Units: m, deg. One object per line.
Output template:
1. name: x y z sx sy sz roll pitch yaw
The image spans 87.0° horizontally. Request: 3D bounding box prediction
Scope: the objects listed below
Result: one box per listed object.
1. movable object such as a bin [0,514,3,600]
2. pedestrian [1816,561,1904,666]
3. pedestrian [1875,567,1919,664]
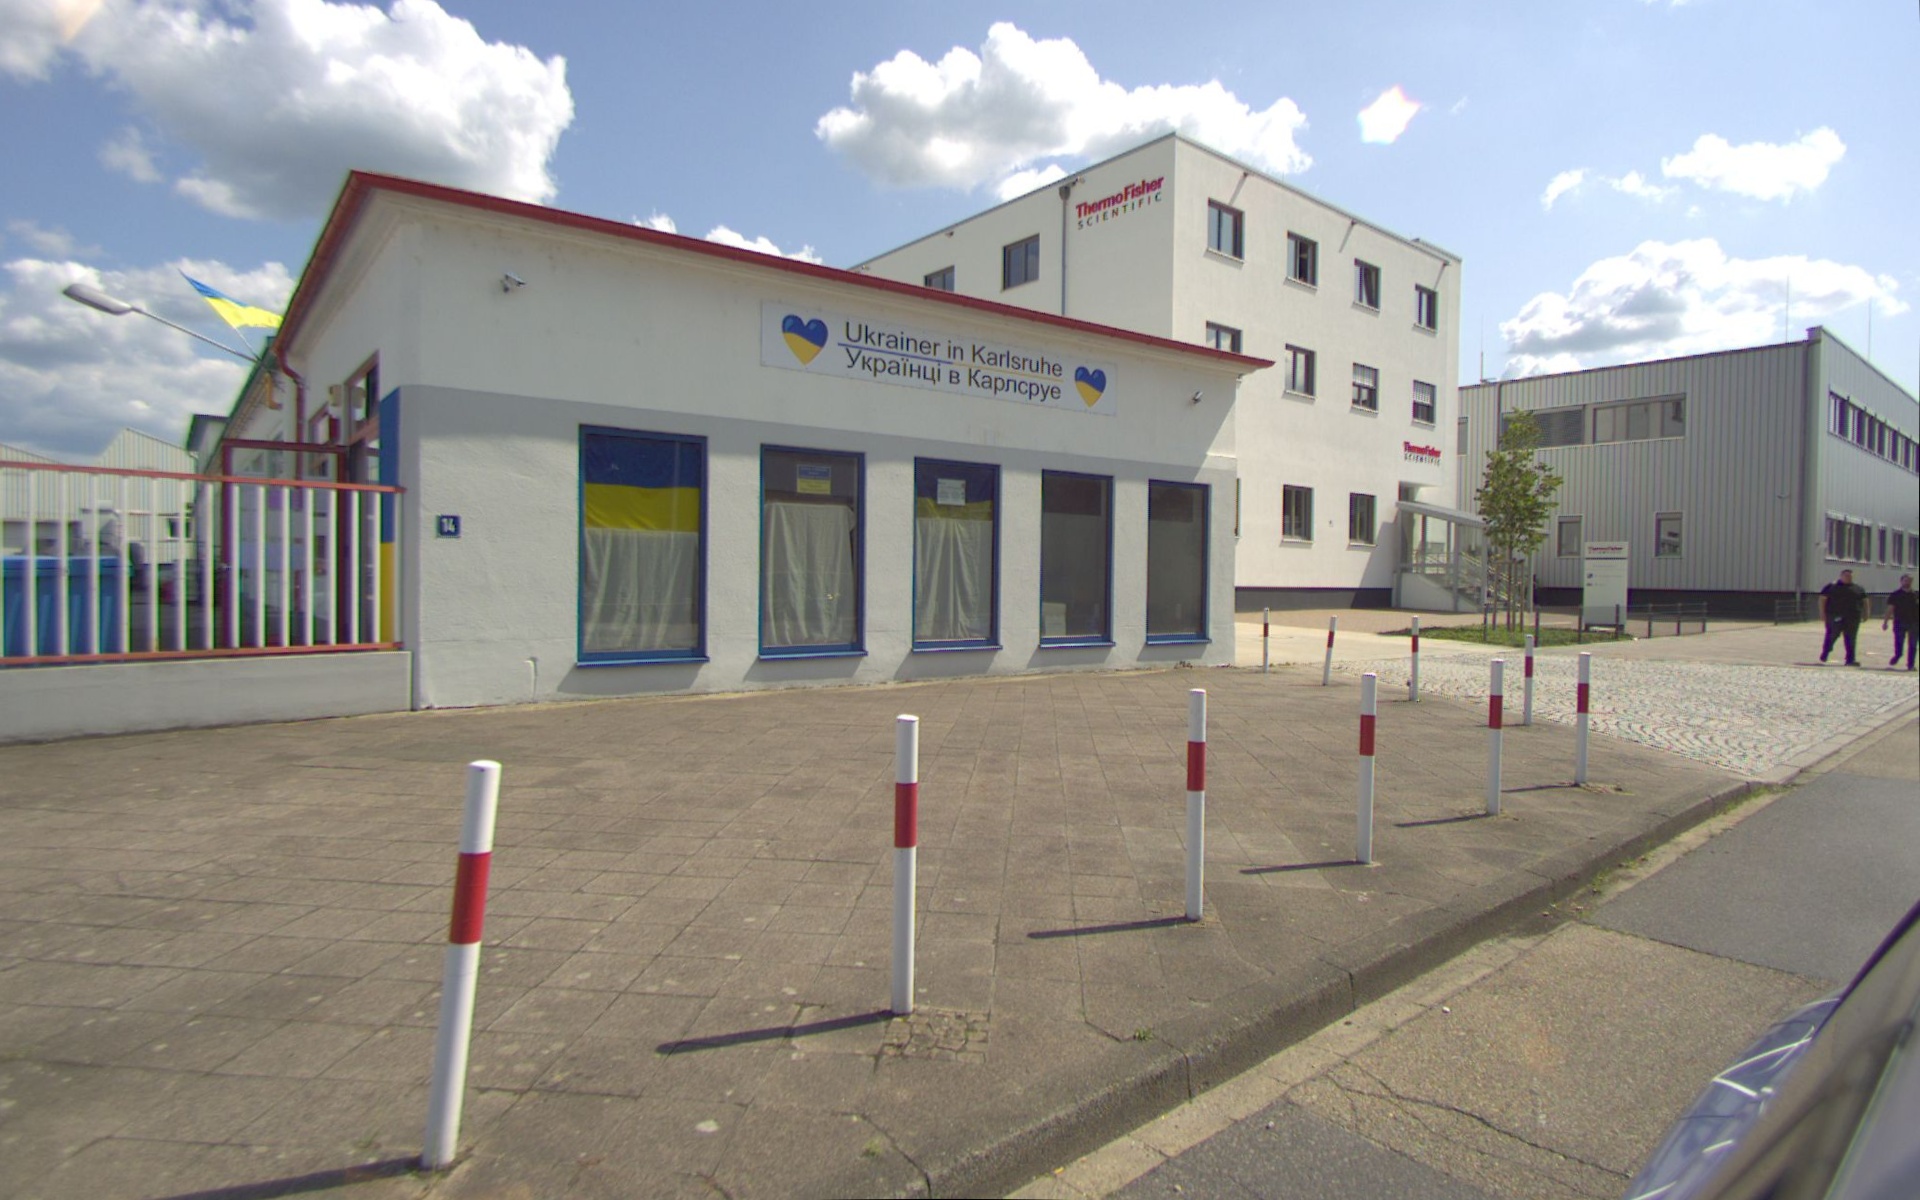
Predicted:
1. movable object such as a bin: -27.883 -1.214 27.938 1.966 2.475 3.835 -1 2 -42
2. pedestrian: 17.582 0.238 19.806 0.983 1.976 1.081 2 2 27
3. pedestrian: 18.325 0.284 19.417 0.851 1.830 0.996 2 2 27
